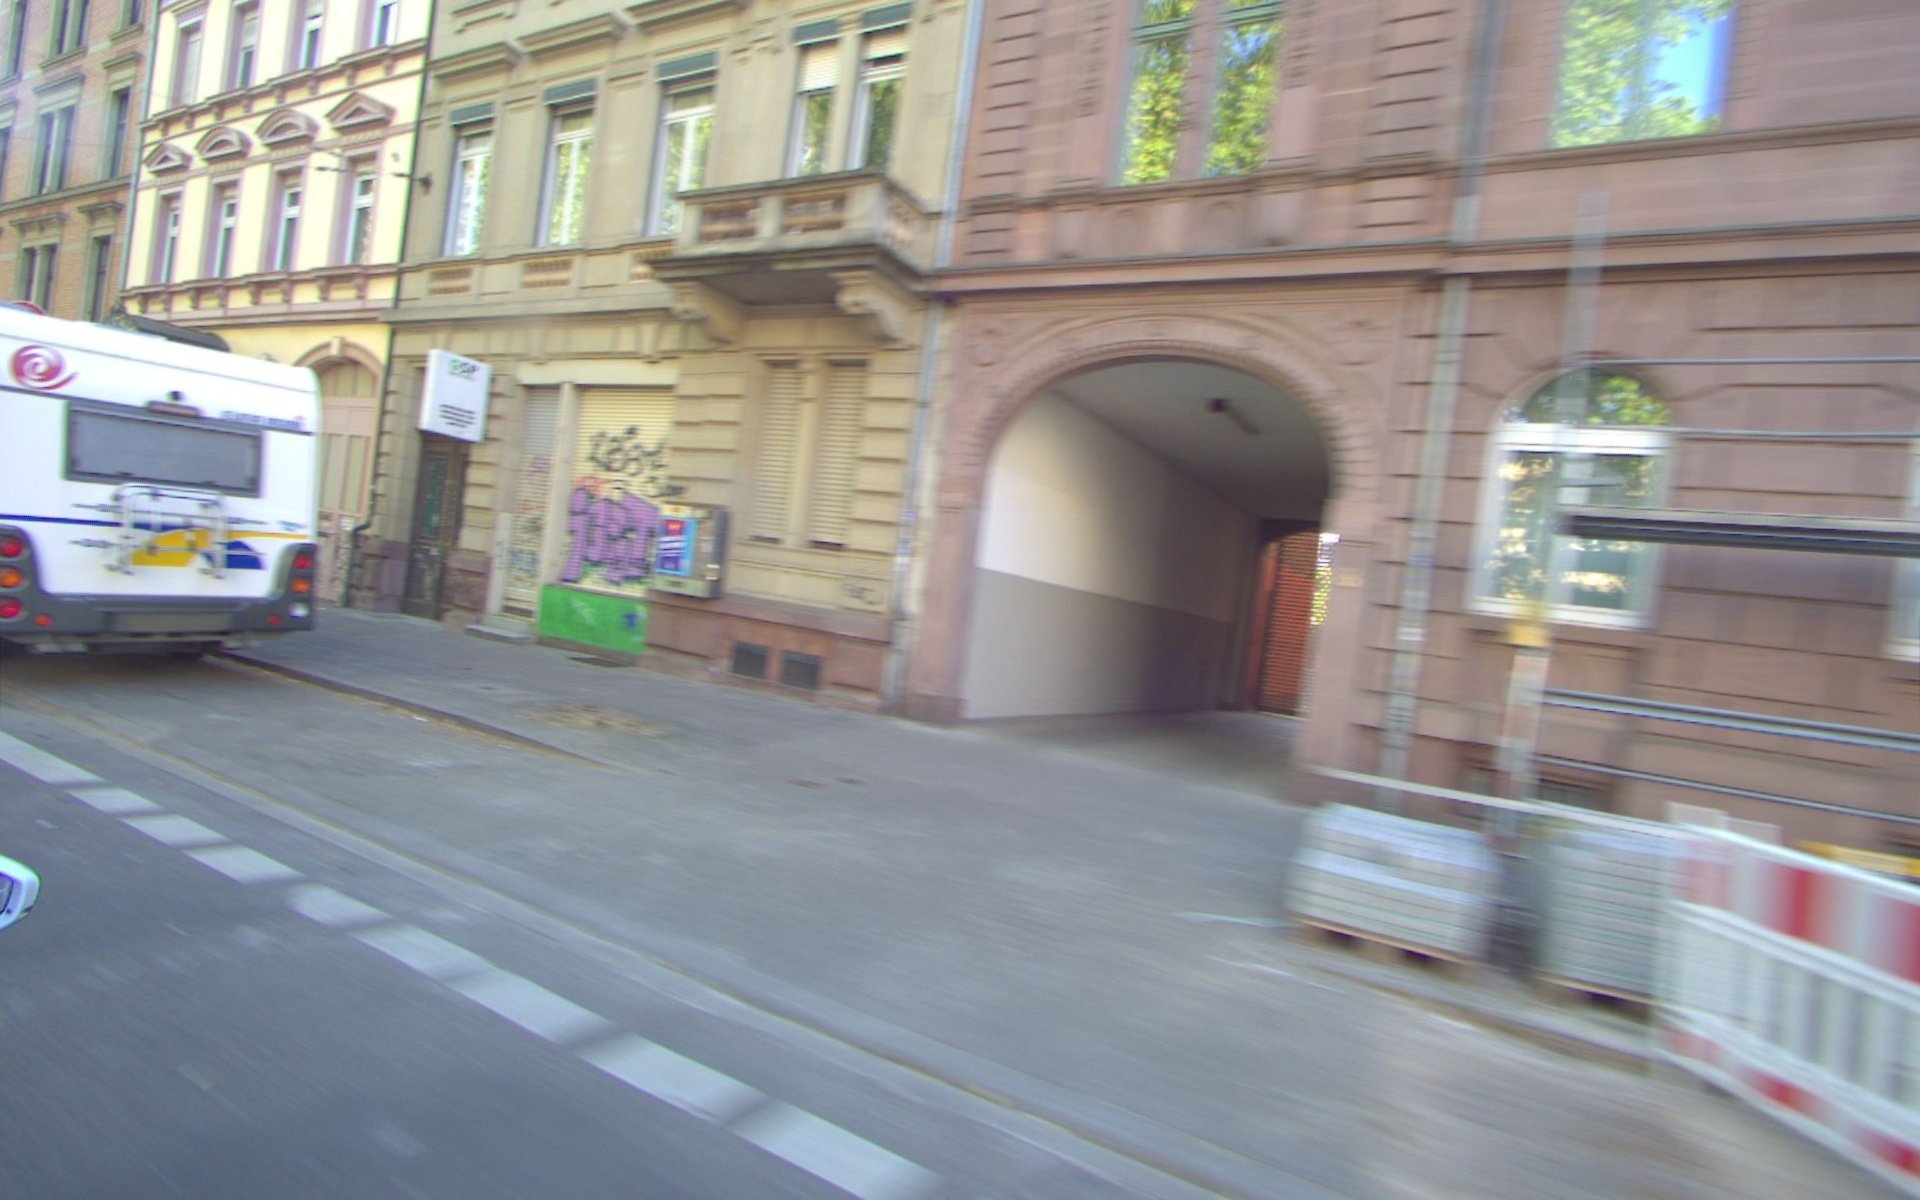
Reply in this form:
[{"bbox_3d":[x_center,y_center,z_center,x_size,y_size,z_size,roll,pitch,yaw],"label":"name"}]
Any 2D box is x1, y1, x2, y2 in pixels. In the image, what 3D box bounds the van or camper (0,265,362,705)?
[{"bbox_3d":[-9.289,-1.137,9.885,7.753,3.012,2.477,7,3,32],"label":"van or camper"}]
